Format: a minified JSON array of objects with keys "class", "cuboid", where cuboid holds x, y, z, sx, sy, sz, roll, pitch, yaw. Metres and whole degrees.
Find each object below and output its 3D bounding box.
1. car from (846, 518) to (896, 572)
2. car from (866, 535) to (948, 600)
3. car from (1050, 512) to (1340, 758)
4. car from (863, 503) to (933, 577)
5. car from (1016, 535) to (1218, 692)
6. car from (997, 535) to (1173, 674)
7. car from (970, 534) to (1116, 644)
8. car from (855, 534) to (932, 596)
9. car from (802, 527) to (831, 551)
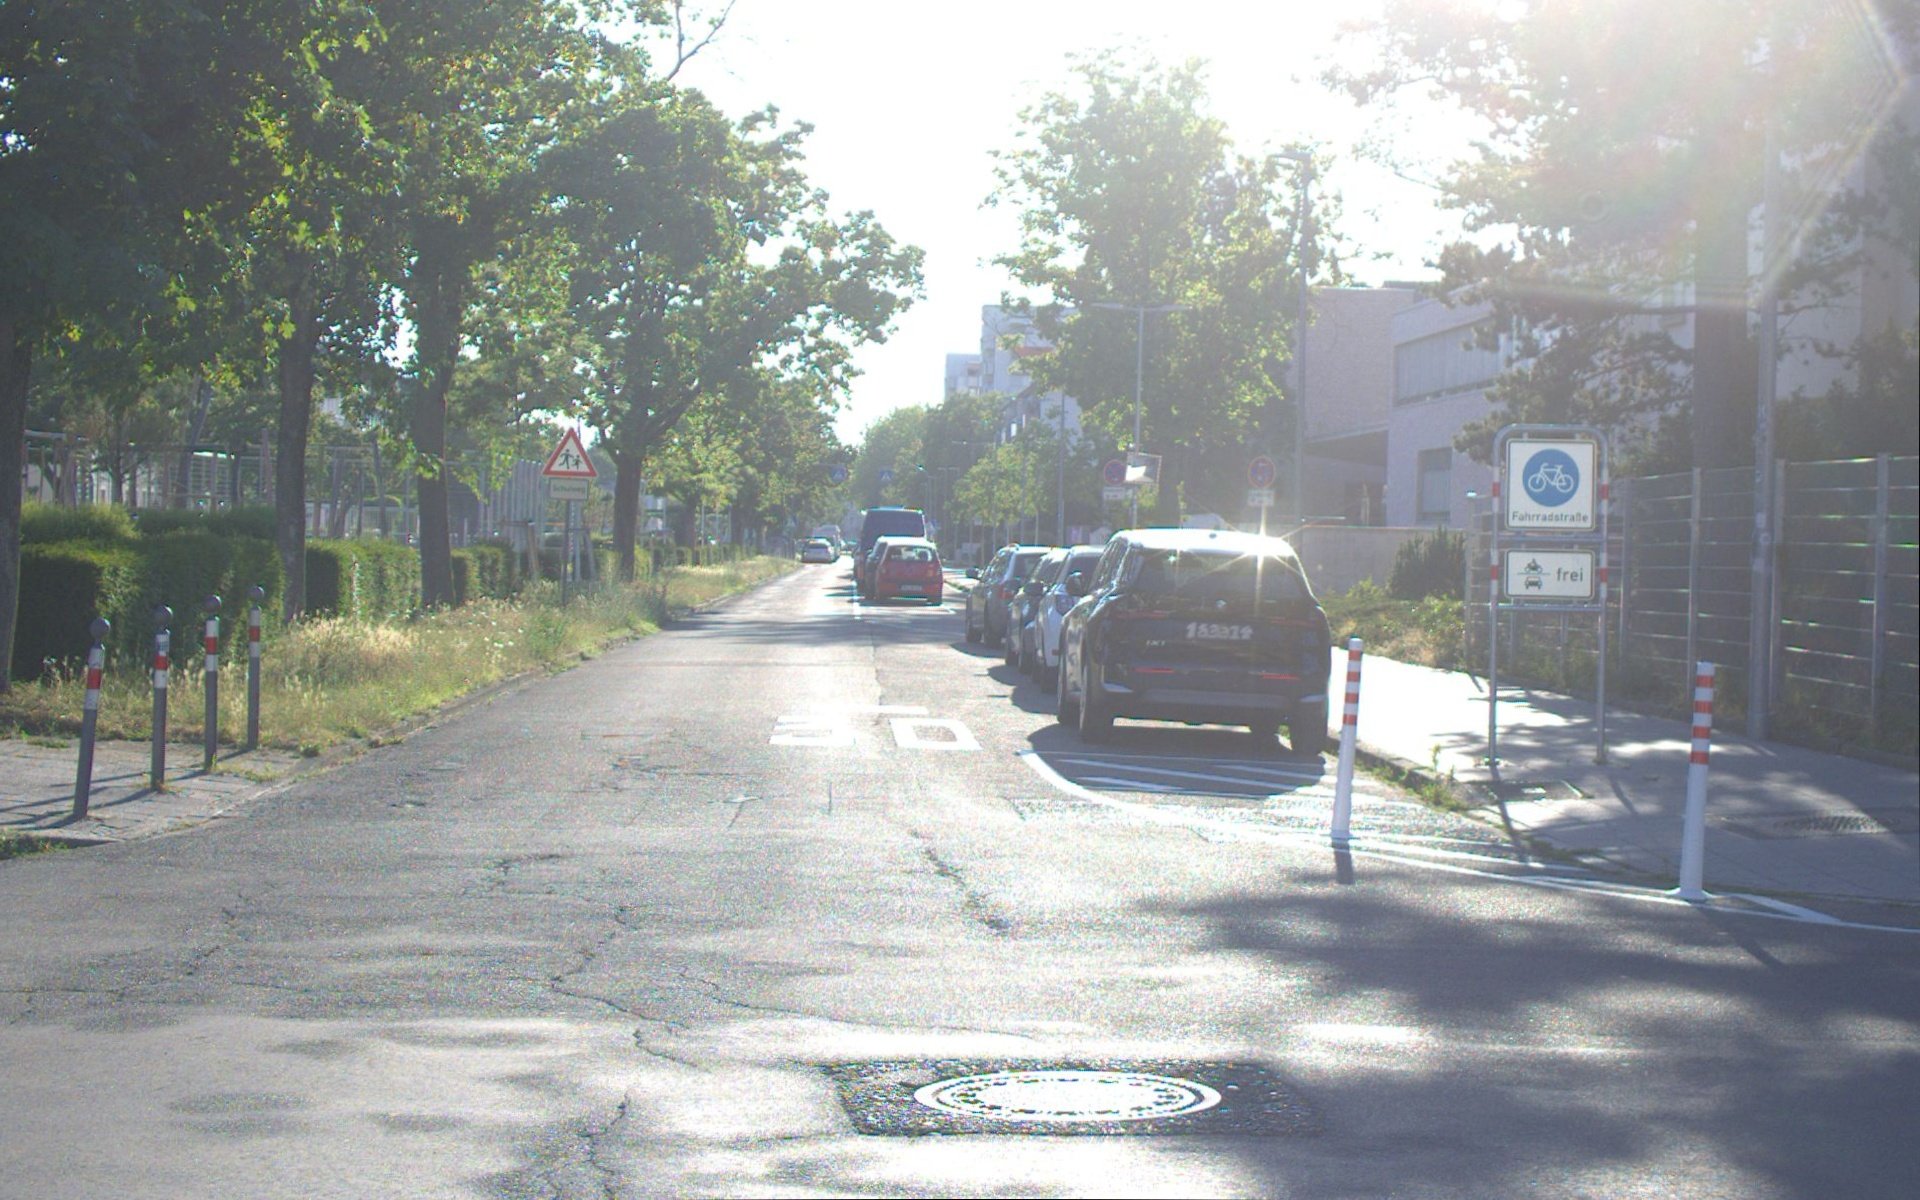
[{"class":"car","cuboid":[-3.655,-2.269,141.207,1.993,2.116,4.000,1,1,-2]},{"class":"car","cuboid":[-1.315,-0.809,84.360,1.756,1.513,3.761,1,1,-4]},{"class":"car","cuboid":[1.727,0.219,26.589,1.817,1.636,4.217,4,1,0]},{"class":"car","cuboid":[-1.869,-1.778,102.044,1.993,2.116,4.000,1,1,-2]},{"class":"car","cuboid":[1.565,0.101,35.500,1.765,1.521,3.773,0,1,-2]},{"class":"car","cuboid":[1.422,0.013,40.368,1.729,1.513,3.760,1,1,-3]},{"class":"car","cuboid":[1.155,-0.187,49.556,1.765,1.521,3.774,0,1,-4]},{"class":"car","cuboid":[-1.739,-0.922,88.524,1.729,1.513,3.761,1,1,-4]},{"class":"car","cuboid":[-9.676,-4.118,231.640,1.865,1.612,4.001,1,1,-3]}]
